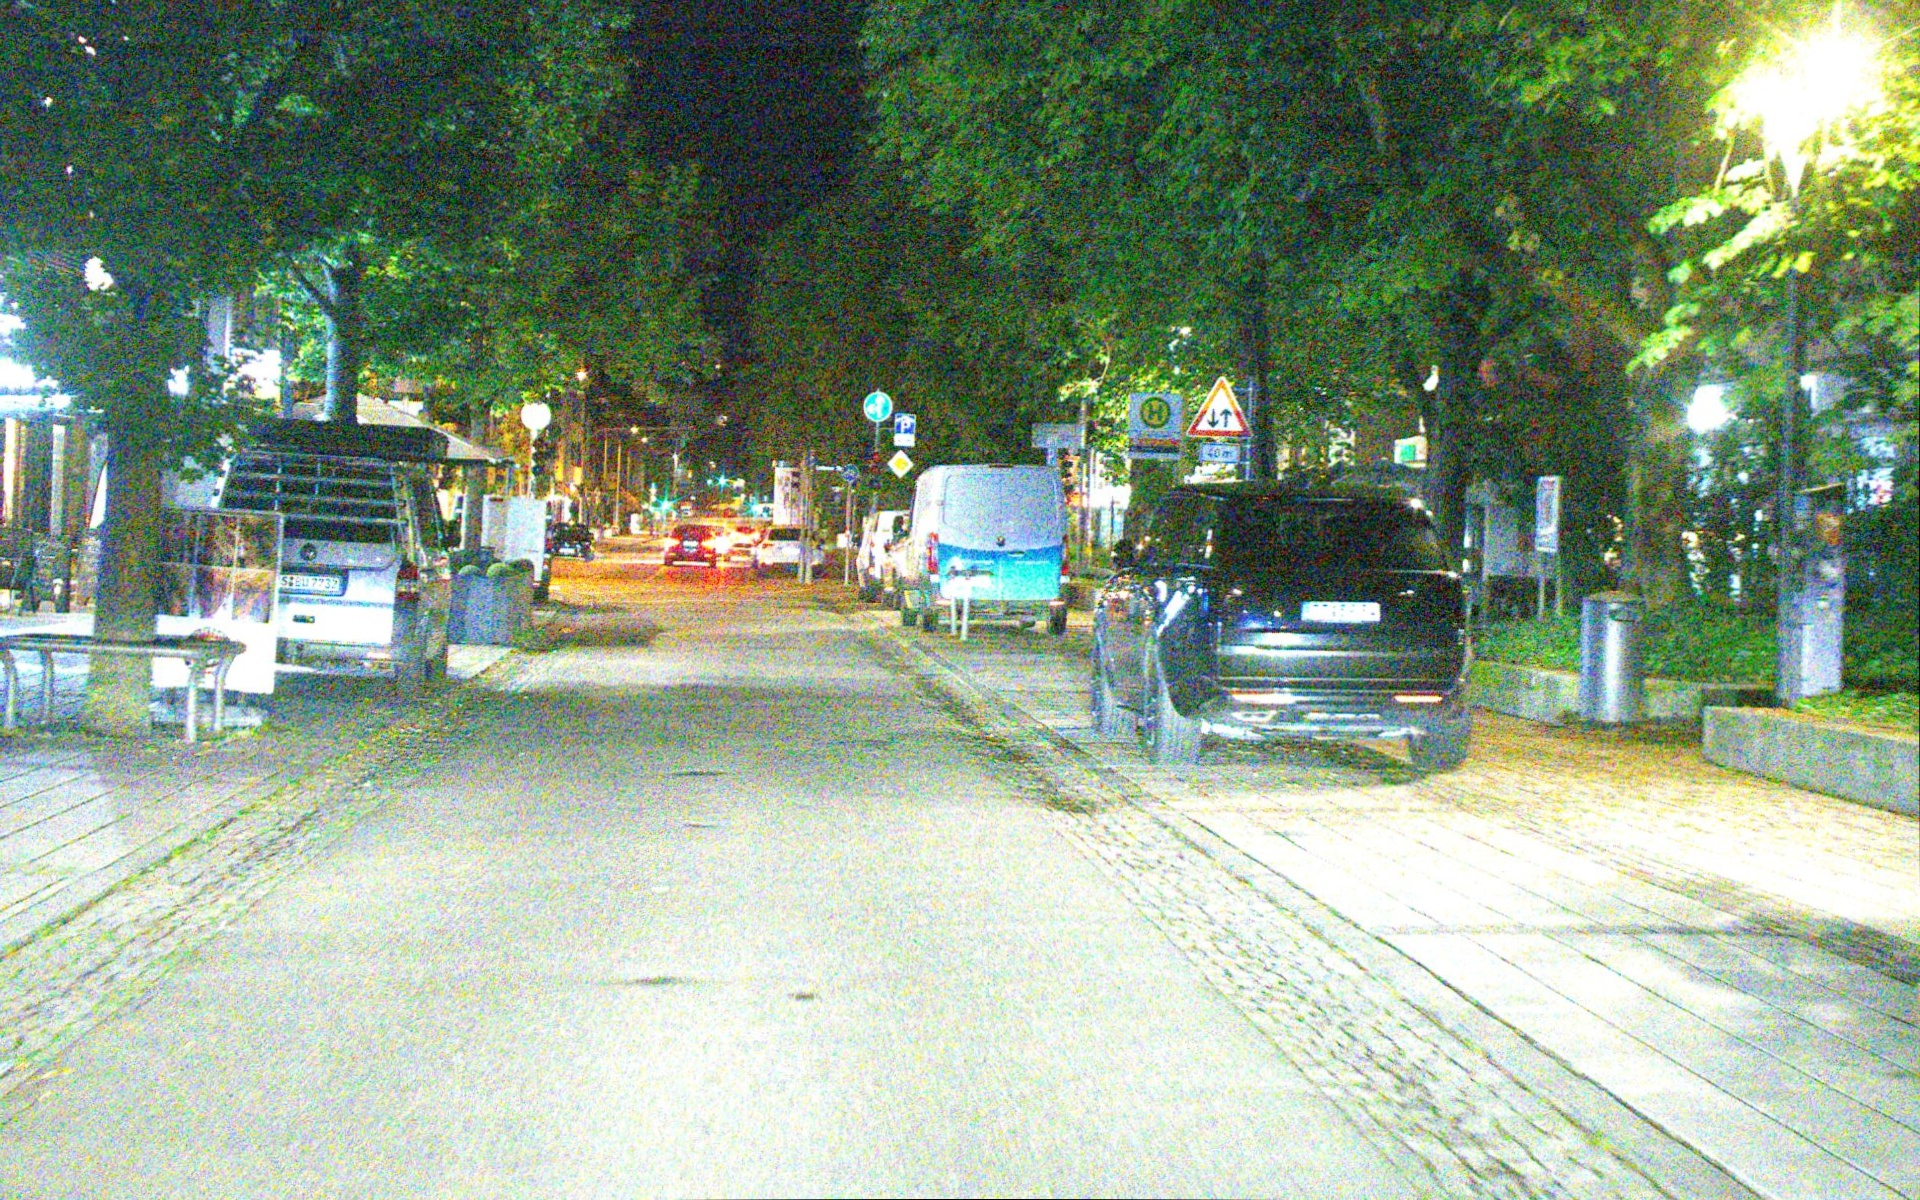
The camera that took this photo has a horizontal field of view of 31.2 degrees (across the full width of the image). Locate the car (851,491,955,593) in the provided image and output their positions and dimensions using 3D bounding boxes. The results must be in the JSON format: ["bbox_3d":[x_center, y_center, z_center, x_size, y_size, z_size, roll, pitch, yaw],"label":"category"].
[{"bbox_3d":[-1.142,-1.149,67.216,1.839,1.894,3.846,1,1,-3],"label":"car"}]

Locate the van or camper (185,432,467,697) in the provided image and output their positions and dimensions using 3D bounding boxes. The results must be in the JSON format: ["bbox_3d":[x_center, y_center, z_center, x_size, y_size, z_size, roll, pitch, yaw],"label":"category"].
[{"bbox_3d":[-5.339,-0.337,29.440,1.866,2.004,4.263,3,1,-5],"label":"van or camper"}]

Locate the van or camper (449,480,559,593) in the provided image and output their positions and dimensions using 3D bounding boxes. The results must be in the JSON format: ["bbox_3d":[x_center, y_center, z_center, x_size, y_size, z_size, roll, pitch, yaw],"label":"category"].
[{"bbox_3d":[-8.479,-1.192,63.944,1.935,1.982,3.846,1,1,-8],"label":"van or camper"}]

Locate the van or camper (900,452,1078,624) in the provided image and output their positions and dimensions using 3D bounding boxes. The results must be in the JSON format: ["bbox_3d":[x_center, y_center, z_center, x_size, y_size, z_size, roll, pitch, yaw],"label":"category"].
[{"bbox_3d":[0.356,-0.888,48.561,2.108,2.309,4.263,0,1,-5],"label":"van or camper"}]

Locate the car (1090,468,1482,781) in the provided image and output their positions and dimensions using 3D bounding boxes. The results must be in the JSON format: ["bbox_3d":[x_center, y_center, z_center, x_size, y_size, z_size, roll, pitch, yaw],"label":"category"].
[{"bbox_3d":[2.022,0.095,22.588,1.814,1.822,4.348,1,1,-4],"label":"car"}]

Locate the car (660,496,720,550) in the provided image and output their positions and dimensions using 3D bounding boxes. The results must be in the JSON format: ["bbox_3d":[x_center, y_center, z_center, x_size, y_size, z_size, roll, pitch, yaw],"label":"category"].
[{"bbox_3d":[-9.541,-2.729,121.790,1.993,1.817,4.001,2,1,-4],"label":"car"}]

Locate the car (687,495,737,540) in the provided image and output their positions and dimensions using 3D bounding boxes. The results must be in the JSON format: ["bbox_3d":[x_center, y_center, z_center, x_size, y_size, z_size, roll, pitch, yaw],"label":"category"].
[{"bbox_3d":[-10.422,-3.460,144.214,1.993,1.817,4.001,2,1,-5],"label":"car"}]

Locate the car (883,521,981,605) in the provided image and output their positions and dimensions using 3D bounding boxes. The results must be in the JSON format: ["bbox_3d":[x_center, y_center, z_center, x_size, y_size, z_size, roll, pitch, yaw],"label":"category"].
[{"bbox_3d":[-0.535,-0.688,61.505,1.531,1.413,3.846,1,1,-3],"label":"car"}]

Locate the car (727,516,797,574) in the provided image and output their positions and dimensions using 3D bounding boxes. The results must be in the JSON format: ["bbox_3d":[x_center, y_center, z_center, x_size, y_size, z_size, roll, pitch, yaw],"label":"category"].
[{"bbox_3d":[-5.467,-1.537,95.016,1.839,1.537,3.846,1,1,-3],"label":"car"}]
